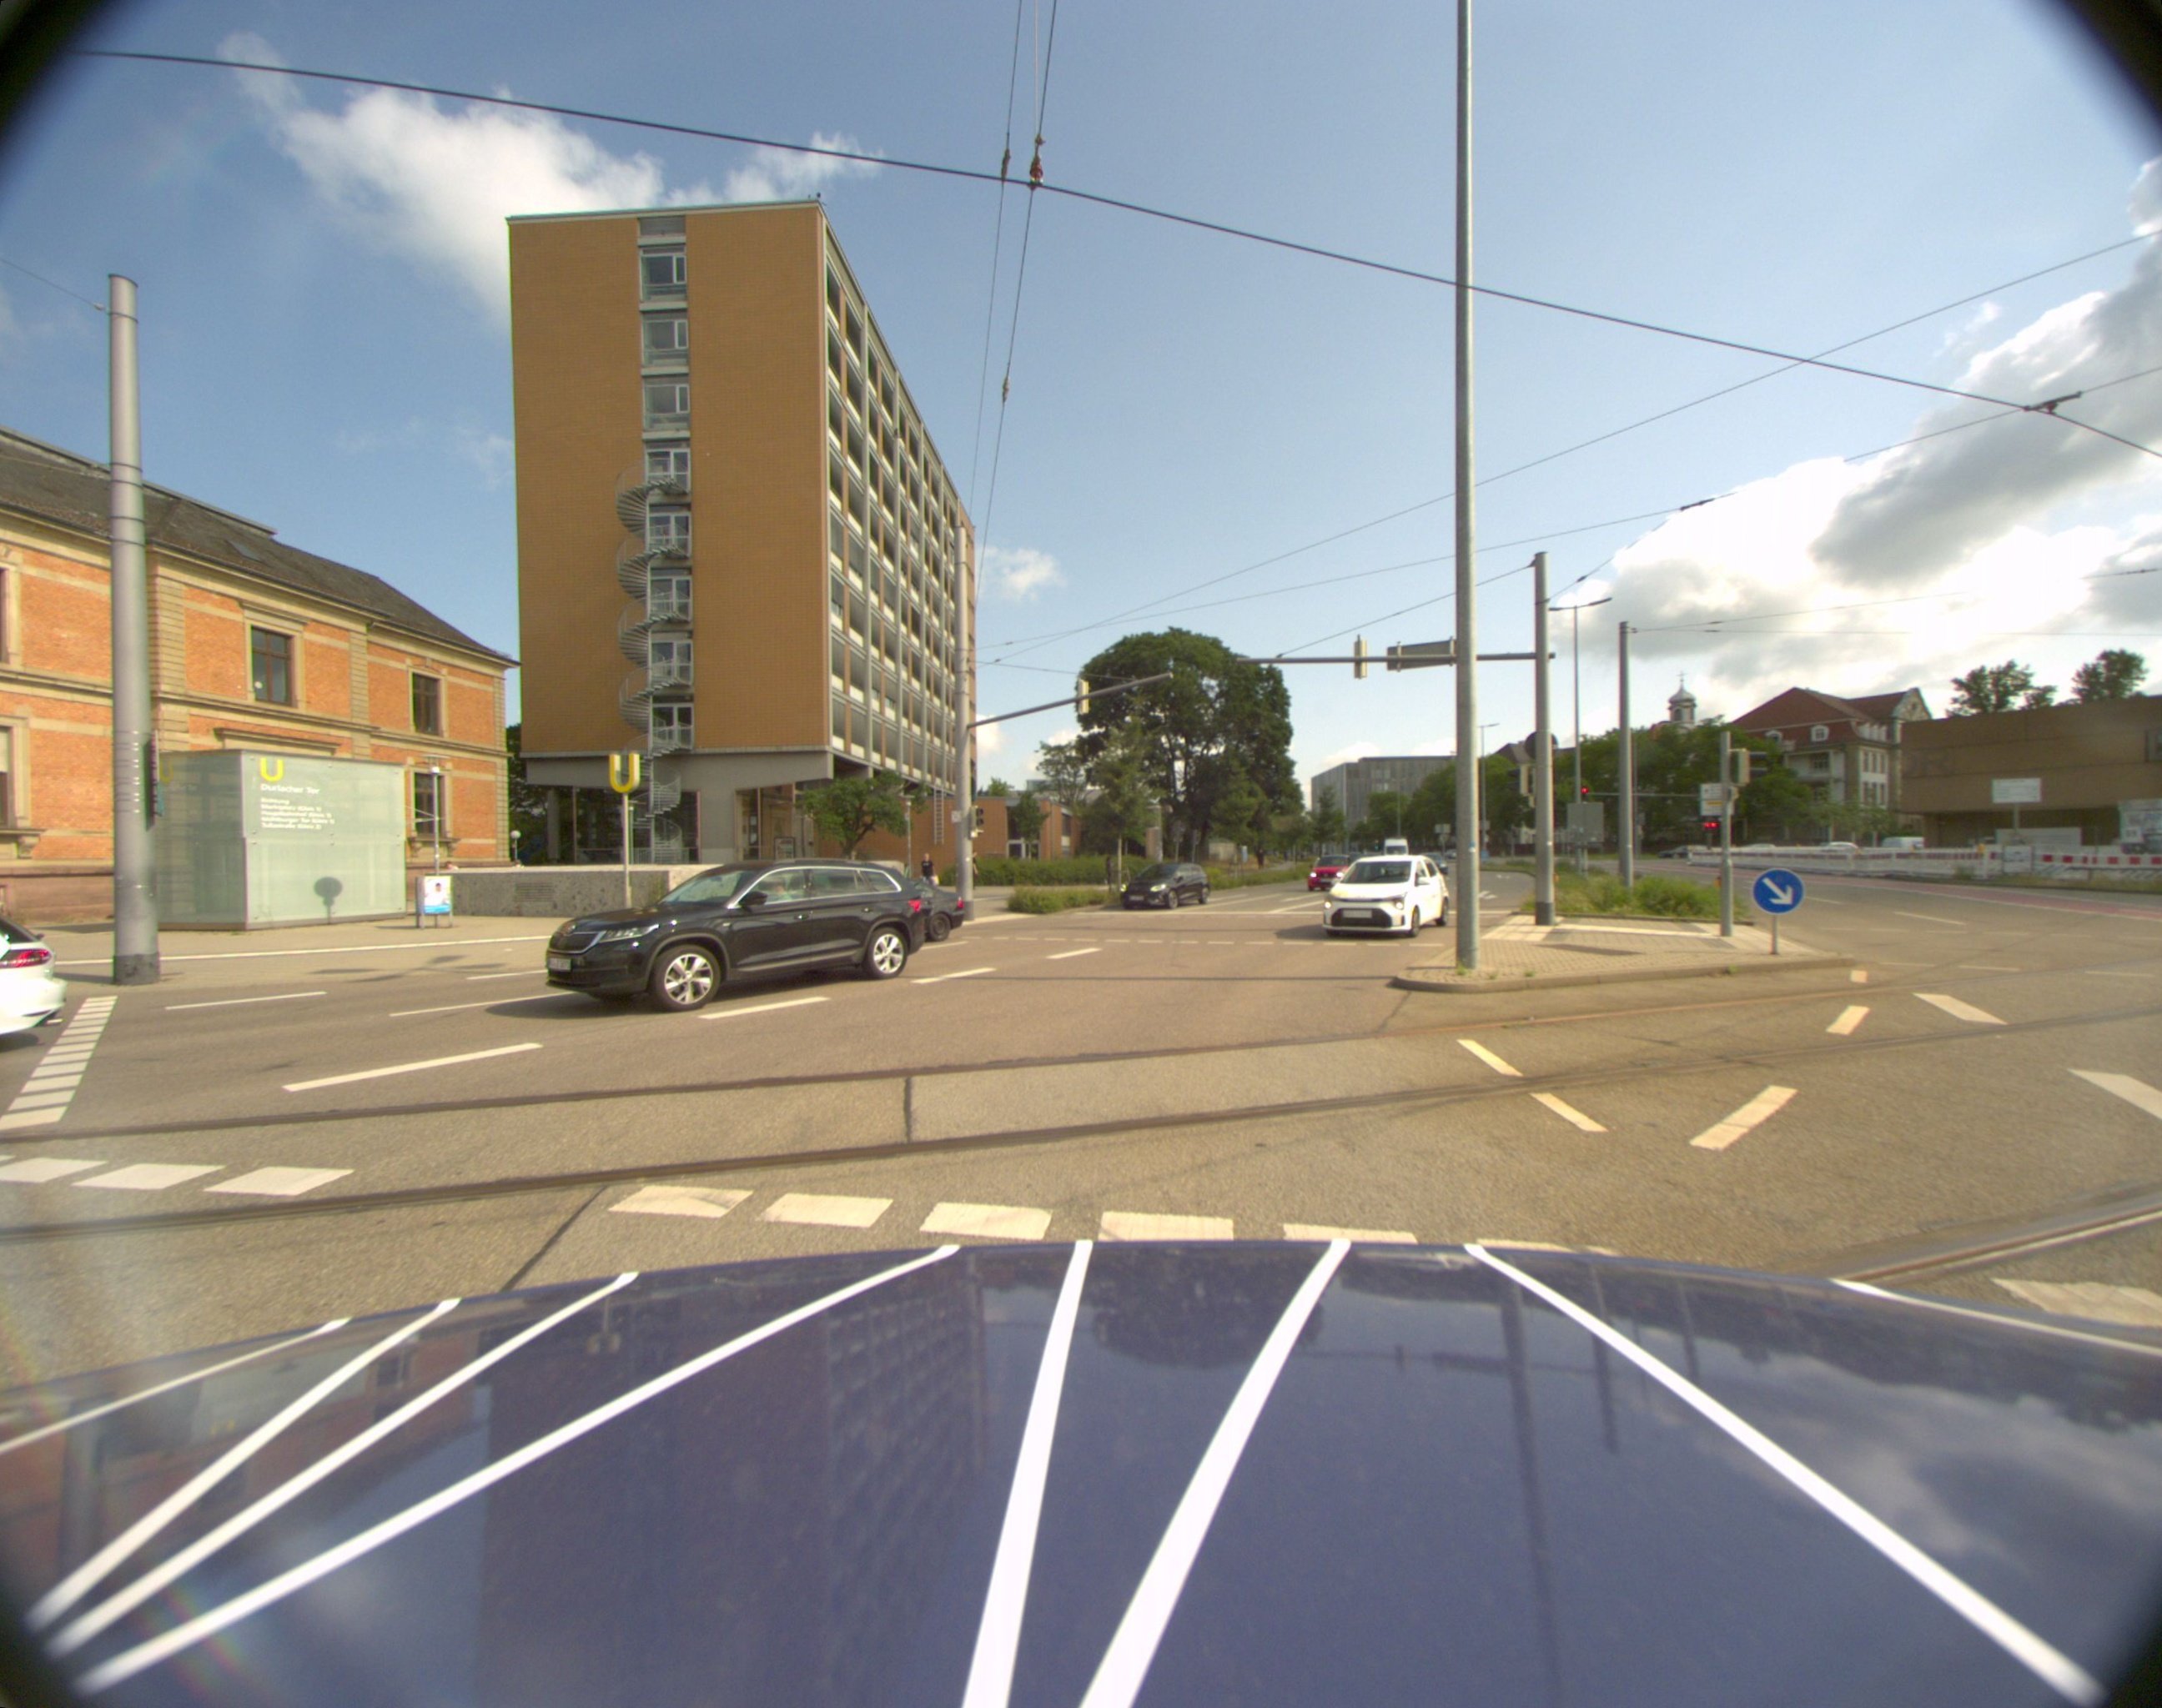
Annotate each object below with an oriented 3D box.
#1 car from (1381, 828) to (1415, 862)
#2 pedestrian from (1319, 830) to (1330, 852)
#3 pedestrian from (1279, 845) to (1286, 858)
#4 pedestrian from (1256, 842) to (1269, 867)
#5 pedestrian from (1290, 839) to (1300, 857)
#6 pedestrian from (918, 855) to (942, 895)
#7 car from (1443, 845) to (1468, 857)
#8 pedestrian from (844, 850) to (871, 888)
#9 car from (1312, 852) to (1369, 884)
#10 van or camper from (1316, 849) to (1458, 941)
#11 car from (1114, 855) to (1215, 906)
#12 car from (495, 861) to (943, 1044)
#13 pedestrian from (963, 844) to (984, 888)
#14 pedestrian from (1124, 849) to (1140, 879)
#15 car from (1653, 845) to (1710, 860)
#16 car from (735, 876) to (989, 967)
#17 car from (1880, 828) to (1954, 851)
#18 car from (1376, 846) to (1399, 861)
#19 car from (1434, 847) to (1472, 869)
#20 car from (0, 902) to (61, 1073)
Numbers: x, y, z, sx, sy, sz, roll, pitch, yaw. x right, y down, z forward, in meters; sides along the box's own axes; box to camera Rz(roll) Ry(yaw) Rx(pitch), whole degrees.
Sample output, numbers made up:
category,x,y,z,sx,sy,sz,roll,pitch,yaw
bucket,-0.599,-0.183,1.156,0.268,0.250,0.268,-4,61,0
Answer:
category,x,y,z,sx,sy,sz,roll,pitch,yaw
car,28.145,-0.793,67.416,2.480,2.862,6.159,-1,0,25
pedestrian,22.490,-1.197,70.152,0.985,2.002,1.131,0,2,17
pedestrian,31.890,-0.452,120.359,0.985,2.002,1.131,-1,1,17
pedestrian,14.153,0.012,59.263,0.758,1.861,0.646,5,5,33
pedestrian,23.120,-0.650,81.942,0.985,2.002,1.131,0,2,17
pedestrian,-6.162,0.852,31.082,0.772,1.579,0.765,-1,1,1
car,53.665,-0.495,108.917,1.996,1.560,4.785,1,2,11
pedestrian,-9.891,0.651,33.603,0.940,1.580,0.763,2,4,-26
car,11.286,0.568,32.961,1.605,1.207,3.015,0,3,34
van or camper,6.097,0.721,14.854,1.624,1.467,4.007,-4,0,35
car,2.865,0.835,25.221,1.710,1.445,4.007,-2,0,32
car,-4.153,0.978,9.571,1.995,1.658,4.693,-3,-1,34
pedestrian,-5.071,0.553,35.818,0.808,2.003,0.723,0,5,-19
pedestrian,2.634,0.517,39.293,0.582,1.512,0.478,-1,4,-28
car,59.267,-0.155,75.070,4.125,1.383,1.760,-1,0,4
car,-4.121,1.208,15.021,1.995,1.389,4.518,-2,-1,36
car,75.784,-1.311,68.924,5.074,2.002,1.998,-1,2,-8
car,35.748,-0.070,88.643,1.996,1.761,4.145,-1,0,16
car,24.207,0.212,49.340,1.995,1.274,4.552,0,2,29
car,-10.971,1.161,5.489,1.680,1.437,4.241,-2,-2,35
